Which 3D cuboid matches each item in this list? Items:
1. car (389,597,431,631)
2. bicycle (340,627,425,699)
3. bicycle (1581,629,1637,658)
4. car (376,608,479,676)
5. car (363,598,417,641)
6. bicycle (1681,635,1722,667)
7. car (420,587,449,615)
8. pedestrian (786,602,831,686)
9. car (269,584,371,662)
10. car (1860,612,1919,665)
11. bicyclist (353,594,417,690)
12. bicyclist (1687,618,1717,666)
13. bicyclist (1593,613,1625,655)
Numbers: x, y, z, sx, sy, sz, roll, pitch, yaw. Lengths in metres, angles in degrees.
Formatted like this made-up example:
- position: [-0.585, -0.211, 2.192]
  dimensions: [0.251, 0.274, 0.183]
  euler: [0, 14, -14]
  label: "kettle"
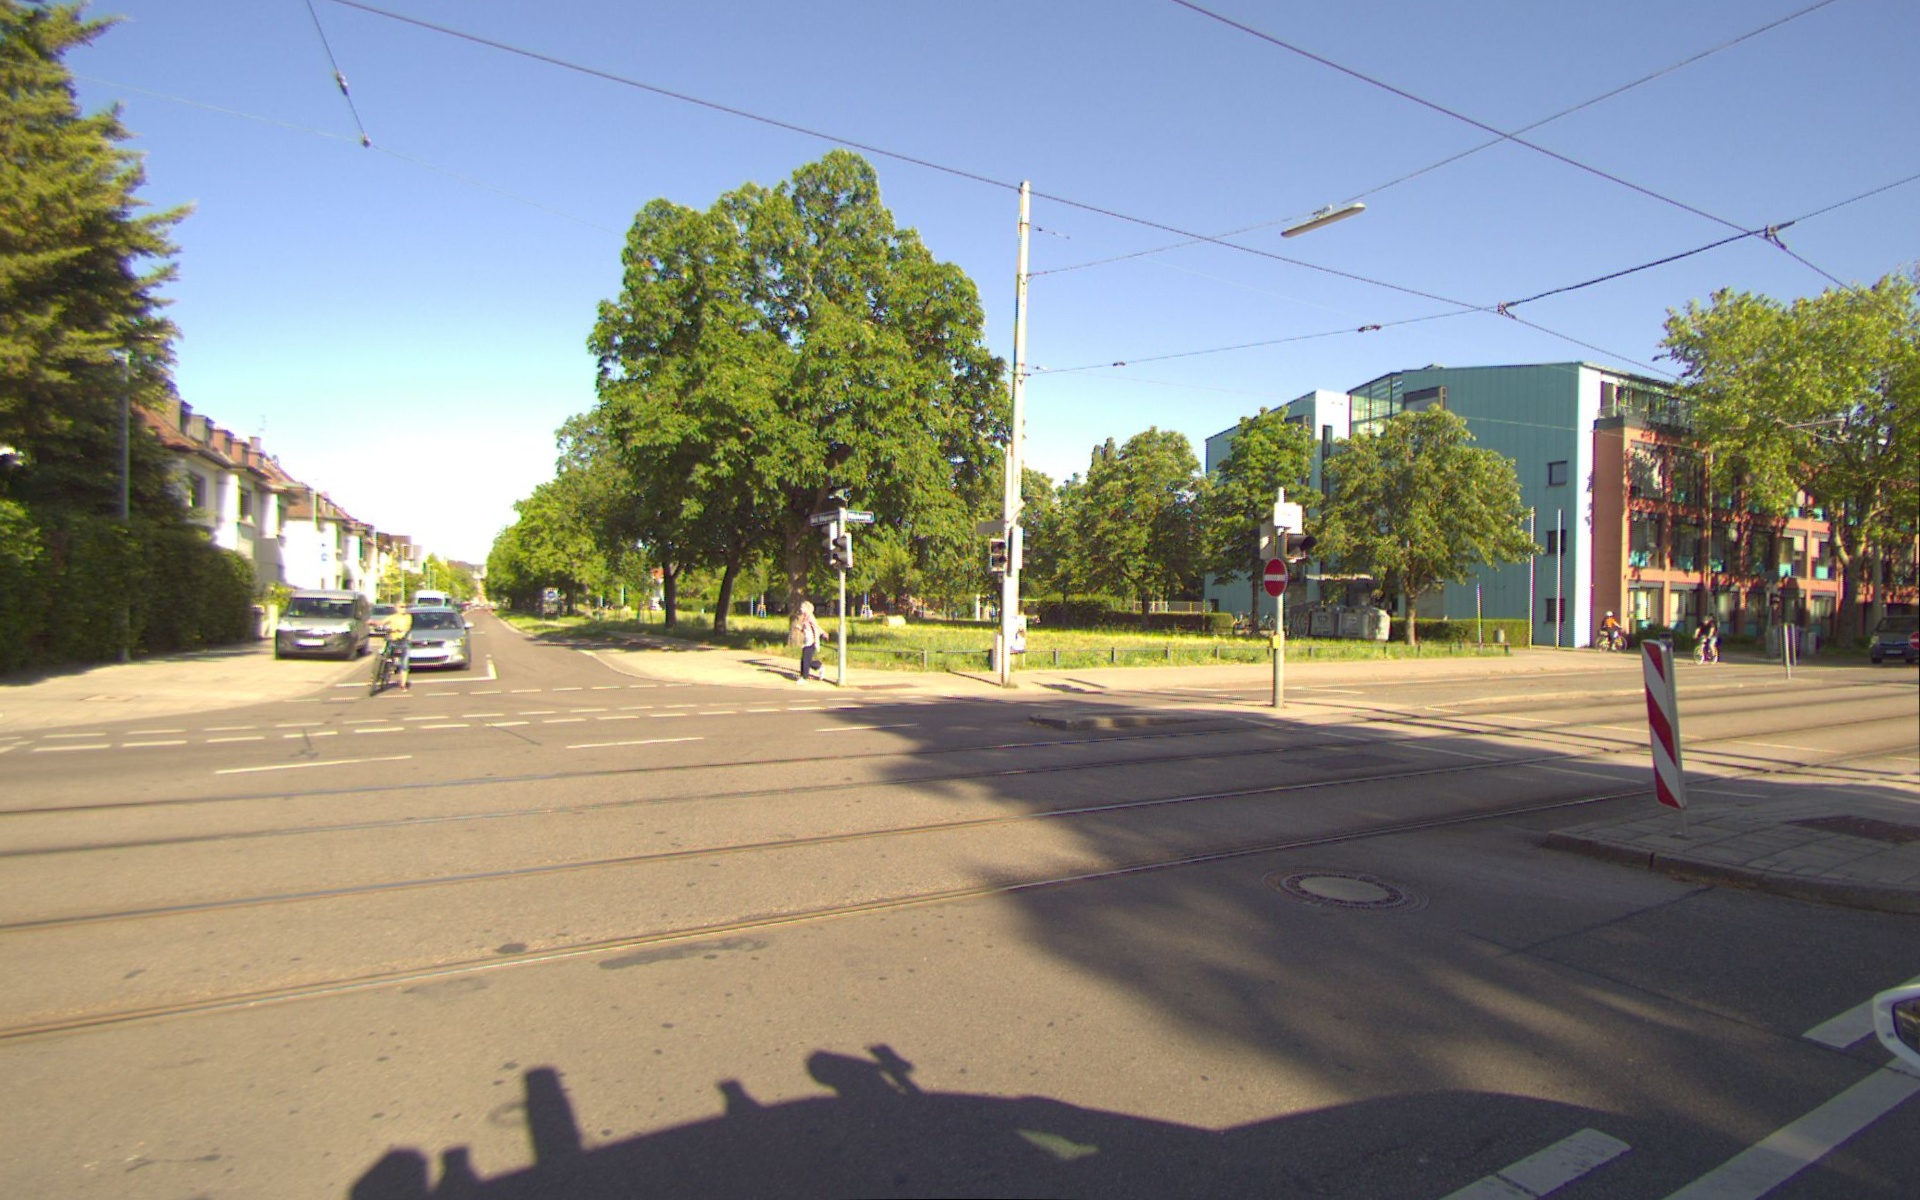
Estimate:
- position: [-30.321, 0.754, 55.447]
  dimensions: [1.792, 1.766, 3.861]
  euler: [0, 0, -26]
  label: "car"
- position: [-10.090, 1.058, 17.635]
  dimensions: [0.916, 1.132, 2.276]
  euler: [1, -1, -20]
  label: "bicycle"
- position: [27.561, 1.830, 42.674]
  dimensions: [1.996, 1.145, 0.633]
  euler: [1, 2, -4]
  label: "bicycle"
- position: [-12.635, 0.932, 24.035]
  dimensions: [1.790, 1.452, 3.978]
  euler: [0, 0, -23]
  label: "car"
- position: [-24.887, 0.826, 43.981]
  dimensions: [1.792, 1.766, 4.174]
  euler: [0, 0, -26]
  label: "car"
- position: [27.095, 1.852, 36.685]
  dimensions: [1.806, 1.128, 0.584]
  euler: [0, -1, -32]
  label: "bicycle"
- position: [-40.571, 0.101, 77.600]
  dimensions: [1.792, 2.122, 4.156]
  euler: [0, 0, -26]
  label: "car"
- position: [-2.958, 0.853, 19.623]
  dimensions: [0.665, 1.578, 0.624]
  euler: [2, 2, 13]
  label: "pedestrian"
- position: [-16.879, 0.568, 26.689]
  dimensions: [1.792, 1.892, 4.287]
  euler: [0, 0, -26]
  label: "car"
- position: [38.985, 1.521, 41.106]
  dimensions: [5.196, 2.040, 2.007]
  euler: [0, -1, -35]
  label: "car"
- position: [-10.135, 0.731, 17.720]
  dimensions: [0.885, 1.644, 0.557]
  euler: [1, 0, -21]
  label: "bicyclist"
- position: [27.133, 1.540, 36.728]
  dimensions: [0.891, 1.733, 0.584]
  euler: [0, -1, -32]
  label: "bicyclist"
- position: [27.558, 1.435, 42.664]
  dimensions: [0.914, 1.715, 0.606]
  euler: [1, 2, -4]
  label: "bicyclist"
